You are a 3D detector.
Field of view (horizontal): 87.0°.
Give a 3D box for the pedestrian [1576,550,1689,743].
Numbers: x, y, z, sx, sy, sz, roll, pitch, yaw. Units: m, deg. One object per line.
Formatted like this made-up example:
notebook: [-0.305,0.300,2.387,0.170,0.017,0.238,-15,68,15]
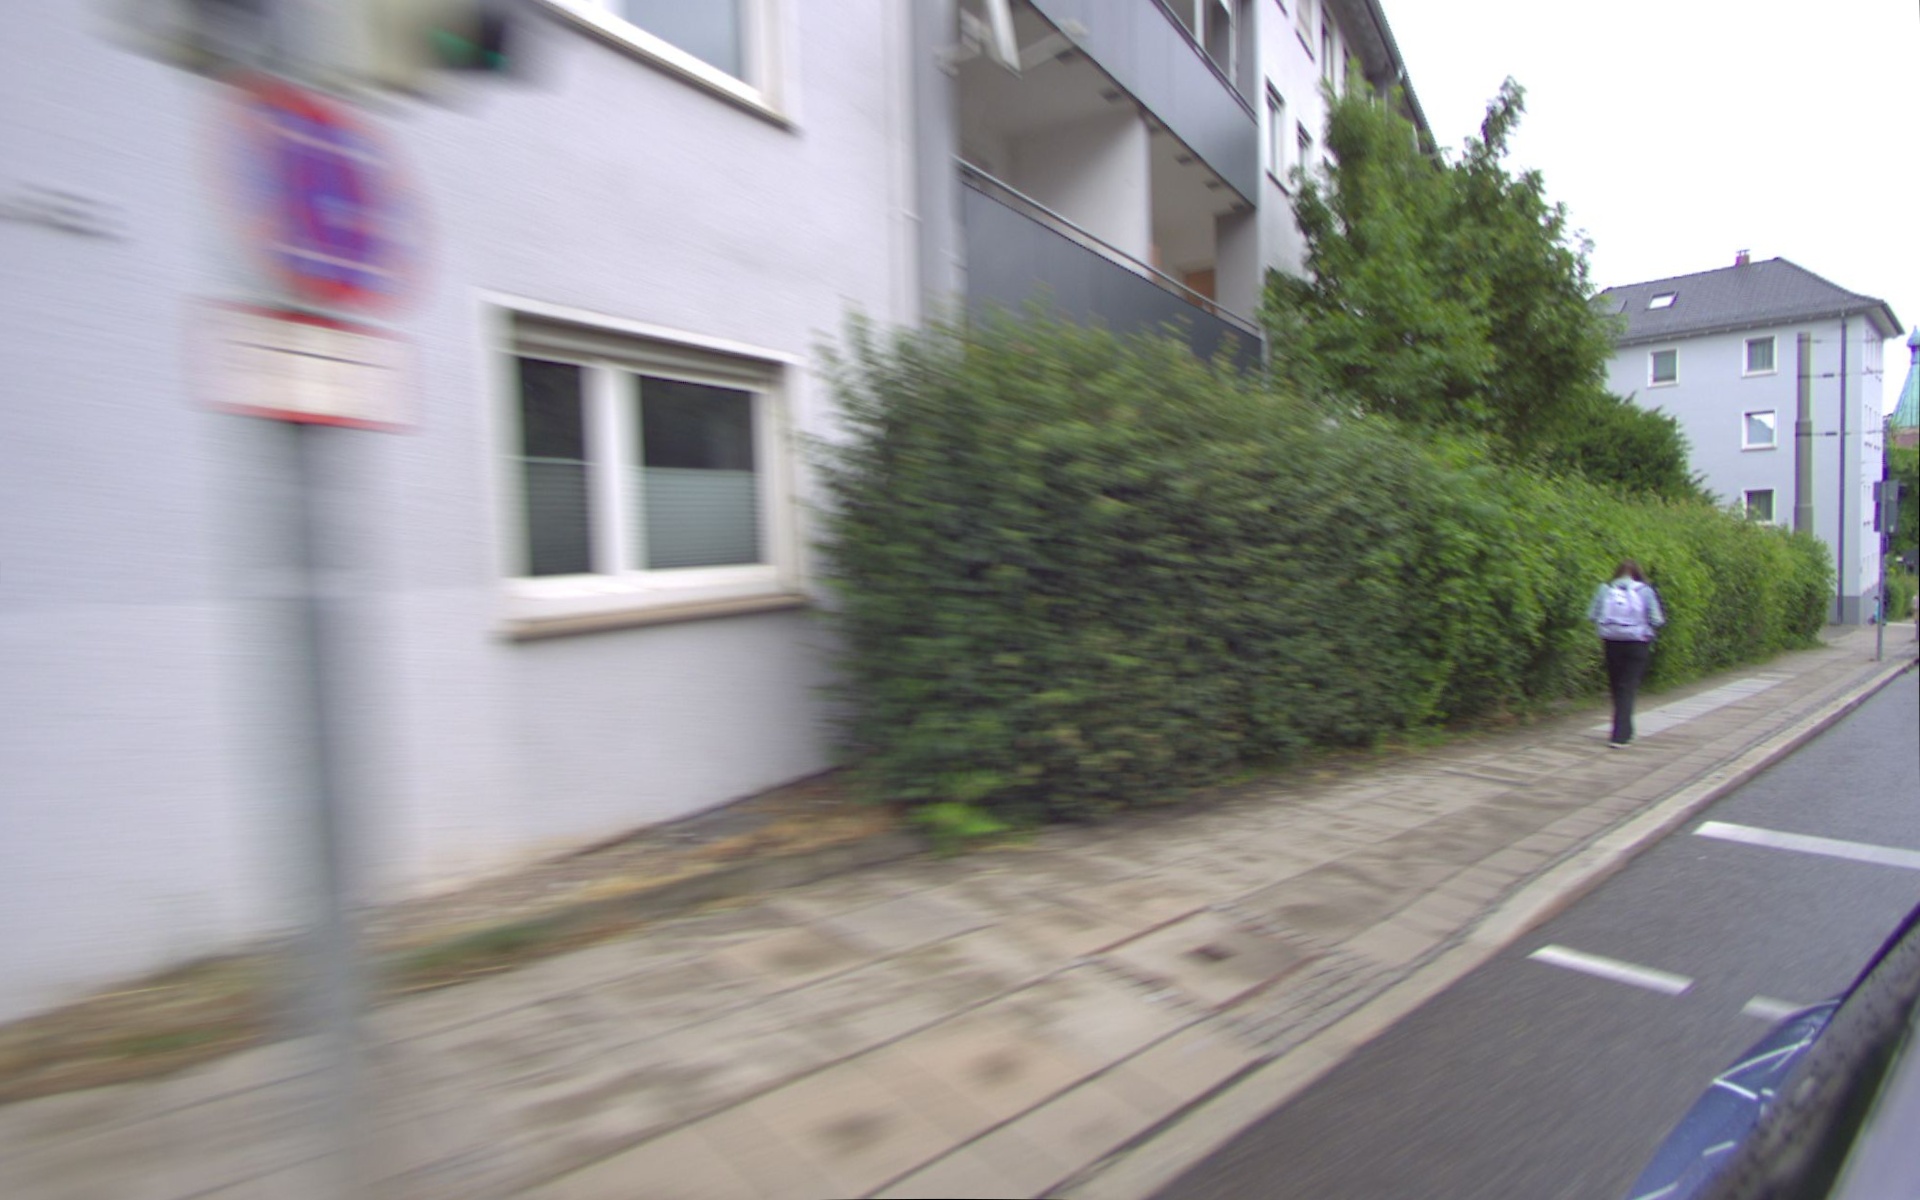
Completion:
pedestrian: [5.980,0.379,9.003,0.618,1.640,0.658,-1,2,-38]
